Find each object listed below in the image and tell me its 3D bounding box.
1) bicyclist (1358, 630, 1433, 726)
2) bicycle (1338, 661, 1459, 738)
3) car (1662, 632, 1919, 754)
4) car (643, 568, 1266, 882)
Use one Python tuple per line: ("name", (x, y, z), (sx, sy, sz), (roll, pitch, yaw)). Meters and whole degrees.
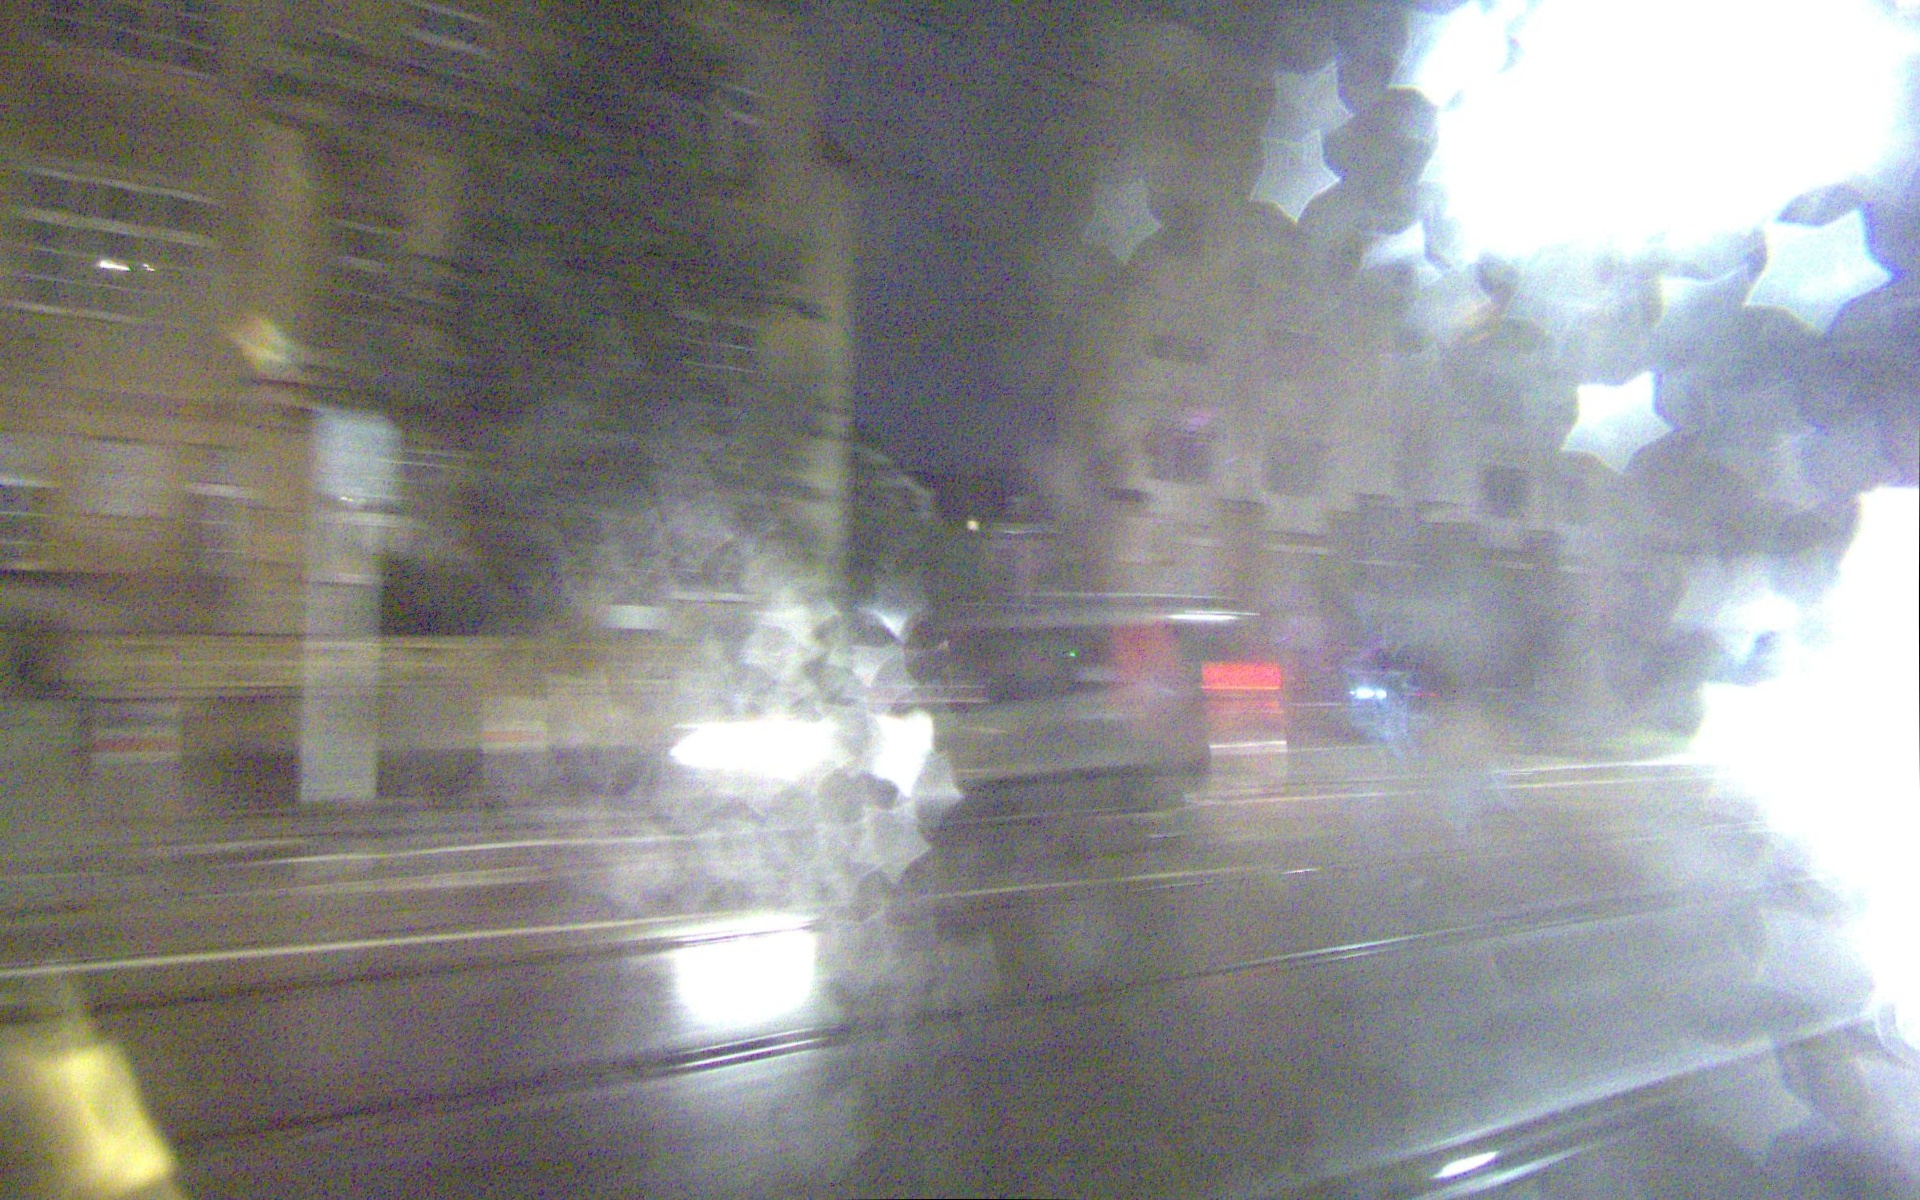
("bicyclist", (7.017, 1.254, 16.196), (0.856, 1.484, 0.653), (3, 0, -22))
("bicycle", (7.084, 1.608, 16.227), (1.870, 1.156, 0.653), (3, -1, -23))
("car", (15.270, 1.567, 18.120), (5.239, 1.850, 1.987), (1, 1, -26))
("car", (-0.036, 0.884, 7.833), (4.471, 1.893, 1.892), (2, -4, -22))
